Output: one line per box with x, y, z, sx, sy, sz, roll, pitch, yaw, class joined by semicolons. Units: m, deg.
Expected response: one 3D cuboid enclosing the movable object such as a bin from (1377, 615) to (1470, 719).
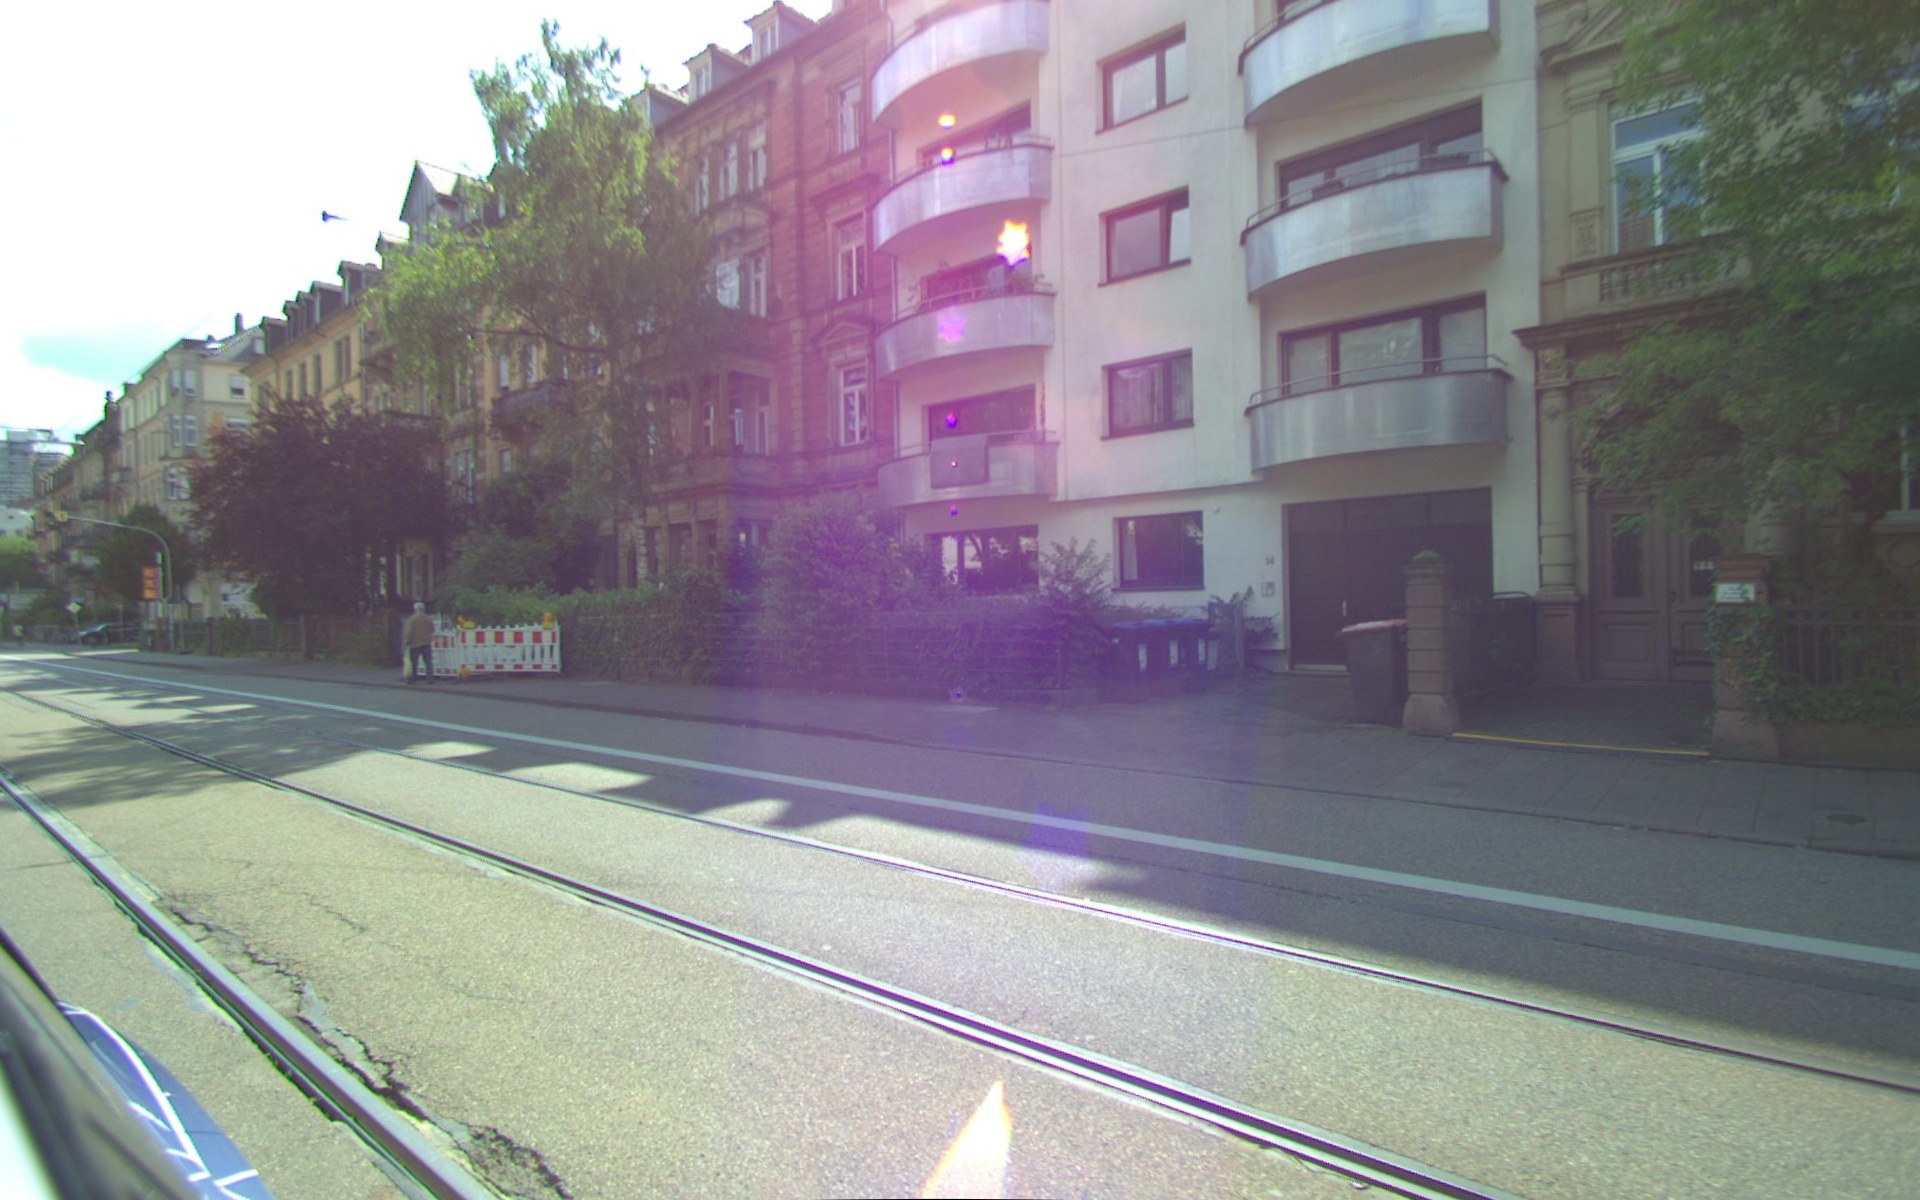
5.254;0.736;11.480;0.543;1.116;0.790;-1;-1;-44;movable object such as a bin

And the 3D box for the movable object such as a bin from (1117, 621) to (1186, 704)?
2.675;0.850;14.141;0.789;1.102;0.532;0;0;42;movable object such as a bin

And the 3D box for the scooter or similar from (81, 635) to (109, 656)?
-54.568;2.865;63.881;0.400;1.244;1.360;-2;0;12;scooter or similar

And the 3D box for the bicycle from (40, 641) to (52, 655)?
-64.203;3.348;71.076;1.948;0.984;0.417;-2;-1;41;bicycle

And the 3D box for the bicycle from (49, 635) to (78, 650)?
-61.305;2.885;69.224;0.404;0.984;1.438;-3;-1;41;bicycle

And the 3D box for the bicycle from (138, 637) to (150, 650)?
-53.179;2.832;65.957;0.516;0.844;1.702;-1;-1;-36;bicycle

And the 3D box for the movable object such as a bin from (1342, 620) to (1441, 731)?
4.515;0.769;10.604;0.531;1.102;0.790;-1;-1;-44;movable object such as a bin

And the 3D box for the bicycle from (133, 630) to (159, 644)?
-58.627;2.675;72.901;0.404;0.984;1.438;-3;-1;41;bicycle

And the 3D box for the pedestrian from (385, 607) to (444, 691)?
-11.594;1.026;21.509;0.890;1.719;0.814;-2;-1;38;pedestrian

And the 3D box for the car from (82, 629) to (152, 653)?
-58.325;2.823;70.042;3.562;1.413;1.788;-2;-1;-45;car

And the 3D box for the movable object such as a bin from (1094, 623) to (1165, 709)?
2.277;0.865;13.615;0.789;1.102;0.532;0;0;42;movable object such as a bin

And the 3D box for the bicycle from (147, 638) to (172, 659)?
-36.479;2.205;46.102;1.967;0.954;0.524;-2;-1;41;bicycle

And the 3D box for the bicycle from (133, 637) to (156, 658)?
-39.175;2.281;48.593;1.967;0.954;0.524;-2;-1;41;bicycle

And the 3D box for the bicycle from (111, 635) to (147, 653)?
-55.277;2.919;67.340;0.523;1.071;1.738;-3;-1;35;bicycle

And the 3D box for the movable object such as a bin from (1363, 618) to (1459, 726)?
4.910;0.762;11.024;0.543;1.116;0.790;-1;-1;-44;movable object such as a bin

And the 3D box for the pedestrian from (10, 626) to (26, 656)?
-57.652;2.519;61.943;1.105;1.773;0.527;-2;1;41;pedestrian

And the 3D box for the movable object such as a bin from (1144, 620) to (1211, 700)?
3.138;0.843;14.600;0.789;1.102;0.532;0;0;42;movable object such as a bin
